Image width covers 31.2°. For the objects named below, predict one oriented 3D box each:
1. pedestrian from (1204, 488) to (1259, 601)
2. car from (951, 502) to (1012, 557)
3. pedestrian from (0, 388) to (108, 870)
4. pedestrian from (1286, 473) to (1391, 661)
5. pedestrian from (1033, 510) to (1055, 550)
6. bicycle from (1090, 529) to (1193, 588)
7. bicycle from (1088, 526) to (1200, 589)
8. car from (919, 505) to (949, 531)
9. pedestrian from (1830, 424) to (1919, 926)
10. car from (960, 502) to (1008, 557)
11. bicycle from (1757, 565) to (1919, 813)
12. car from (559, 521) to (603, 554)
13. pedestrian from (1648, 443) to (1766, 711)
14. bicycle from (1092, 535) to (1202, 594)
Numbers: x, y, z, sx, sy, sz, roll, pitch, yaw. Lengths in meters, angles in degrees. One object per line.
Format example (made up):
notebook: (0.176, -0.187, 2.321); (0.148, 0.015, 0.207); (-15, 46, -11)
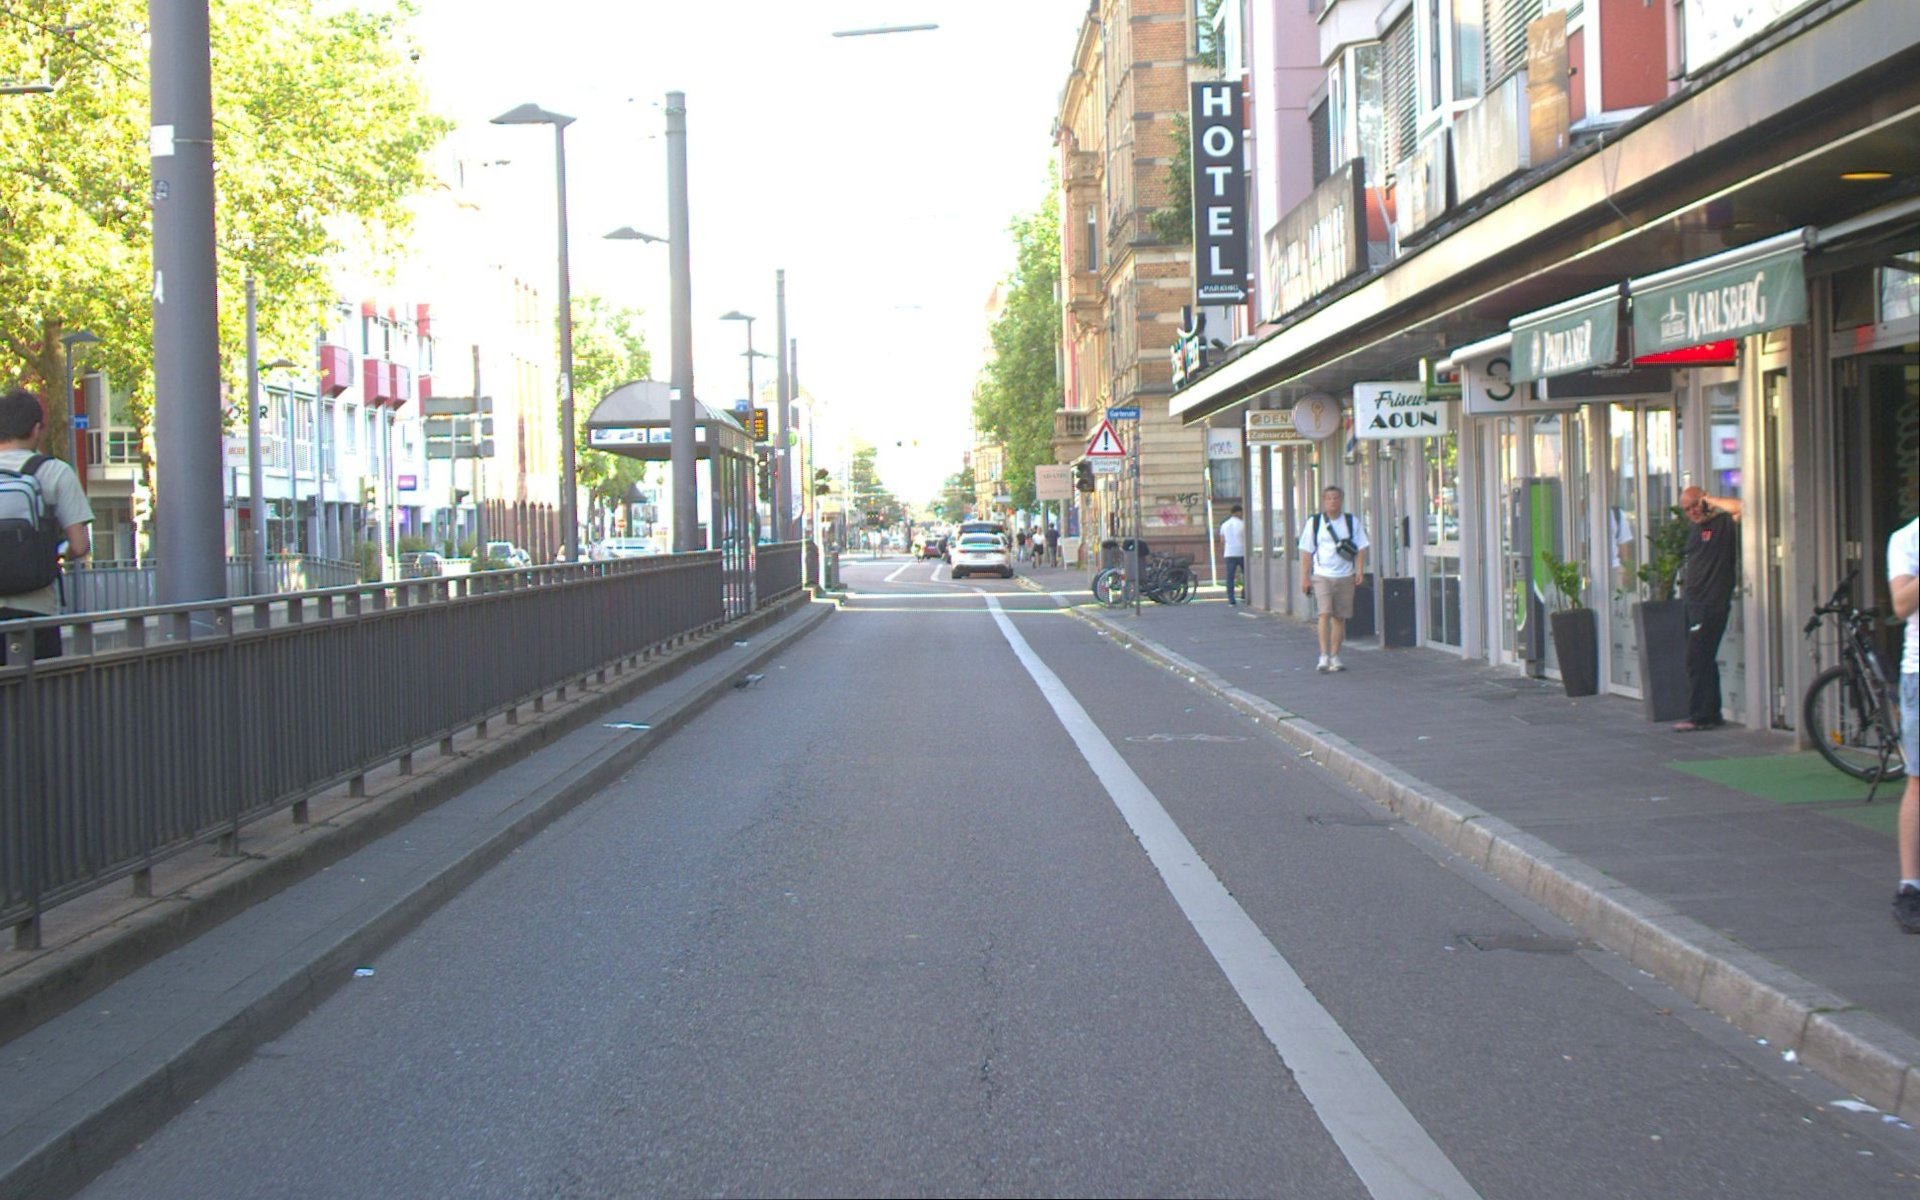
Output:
pedestrian: (4.636, -0.941, 58.656); (0.813, 1.878, 0.776); (2, 1, 1)
car: (0.716, -2.309, 112.829); (1.966, 1.765, 4.875); (0, 1, 1)
pedestrian: (-3.610, 0.106, 13.054); (0.582, 1.785, 0.606); (-1, 1, -2)
pedestrian: (3.625, -0.320, 33.001); (0.798, 1.716, 1.061); (-4, 1, 1)
pedestrian: (3.372, -2.801, 137.778); (0.776, 1.561, 0.914); (-4, 1, 1)
bicycle: (3.355, -0.774, 63.707); (1.833, 1.050, 0.718); (-1, 1, -3)
bicycle: (3.369, -0.779, 62.977); (1.970, 1.101, 0.614); (-2, 1, -3)
car: (-1.767, -5.603, 234.579); (2.041, 1.668, 4.876); (0, 2, 0)
pedestrian: (3.434, 0.233, 11.812); (0.632, 1.667, 0.771); (-2, 1, 0)
car: (0.958, -2.776, 135.516); (1.705, 2.112, 3.706); (0, 1, 3)
bicycle: (4.468, 0.398, 16.688); (0.657, 1.063, 1.794); (-6, 1, -1)
car: (-18.816, -3.134, 170.781); (1.869, 1.594, 4.255); (-1, 1, -3)
pedestrian: (4.752, -0.149, 21.870); (0.541, 1.667, 0.469); (-2, 1, -9)
bicycle: (3.394, -0.646, 62.323); (1.913, 1.044, 0.681); (-1, 1, -3)
